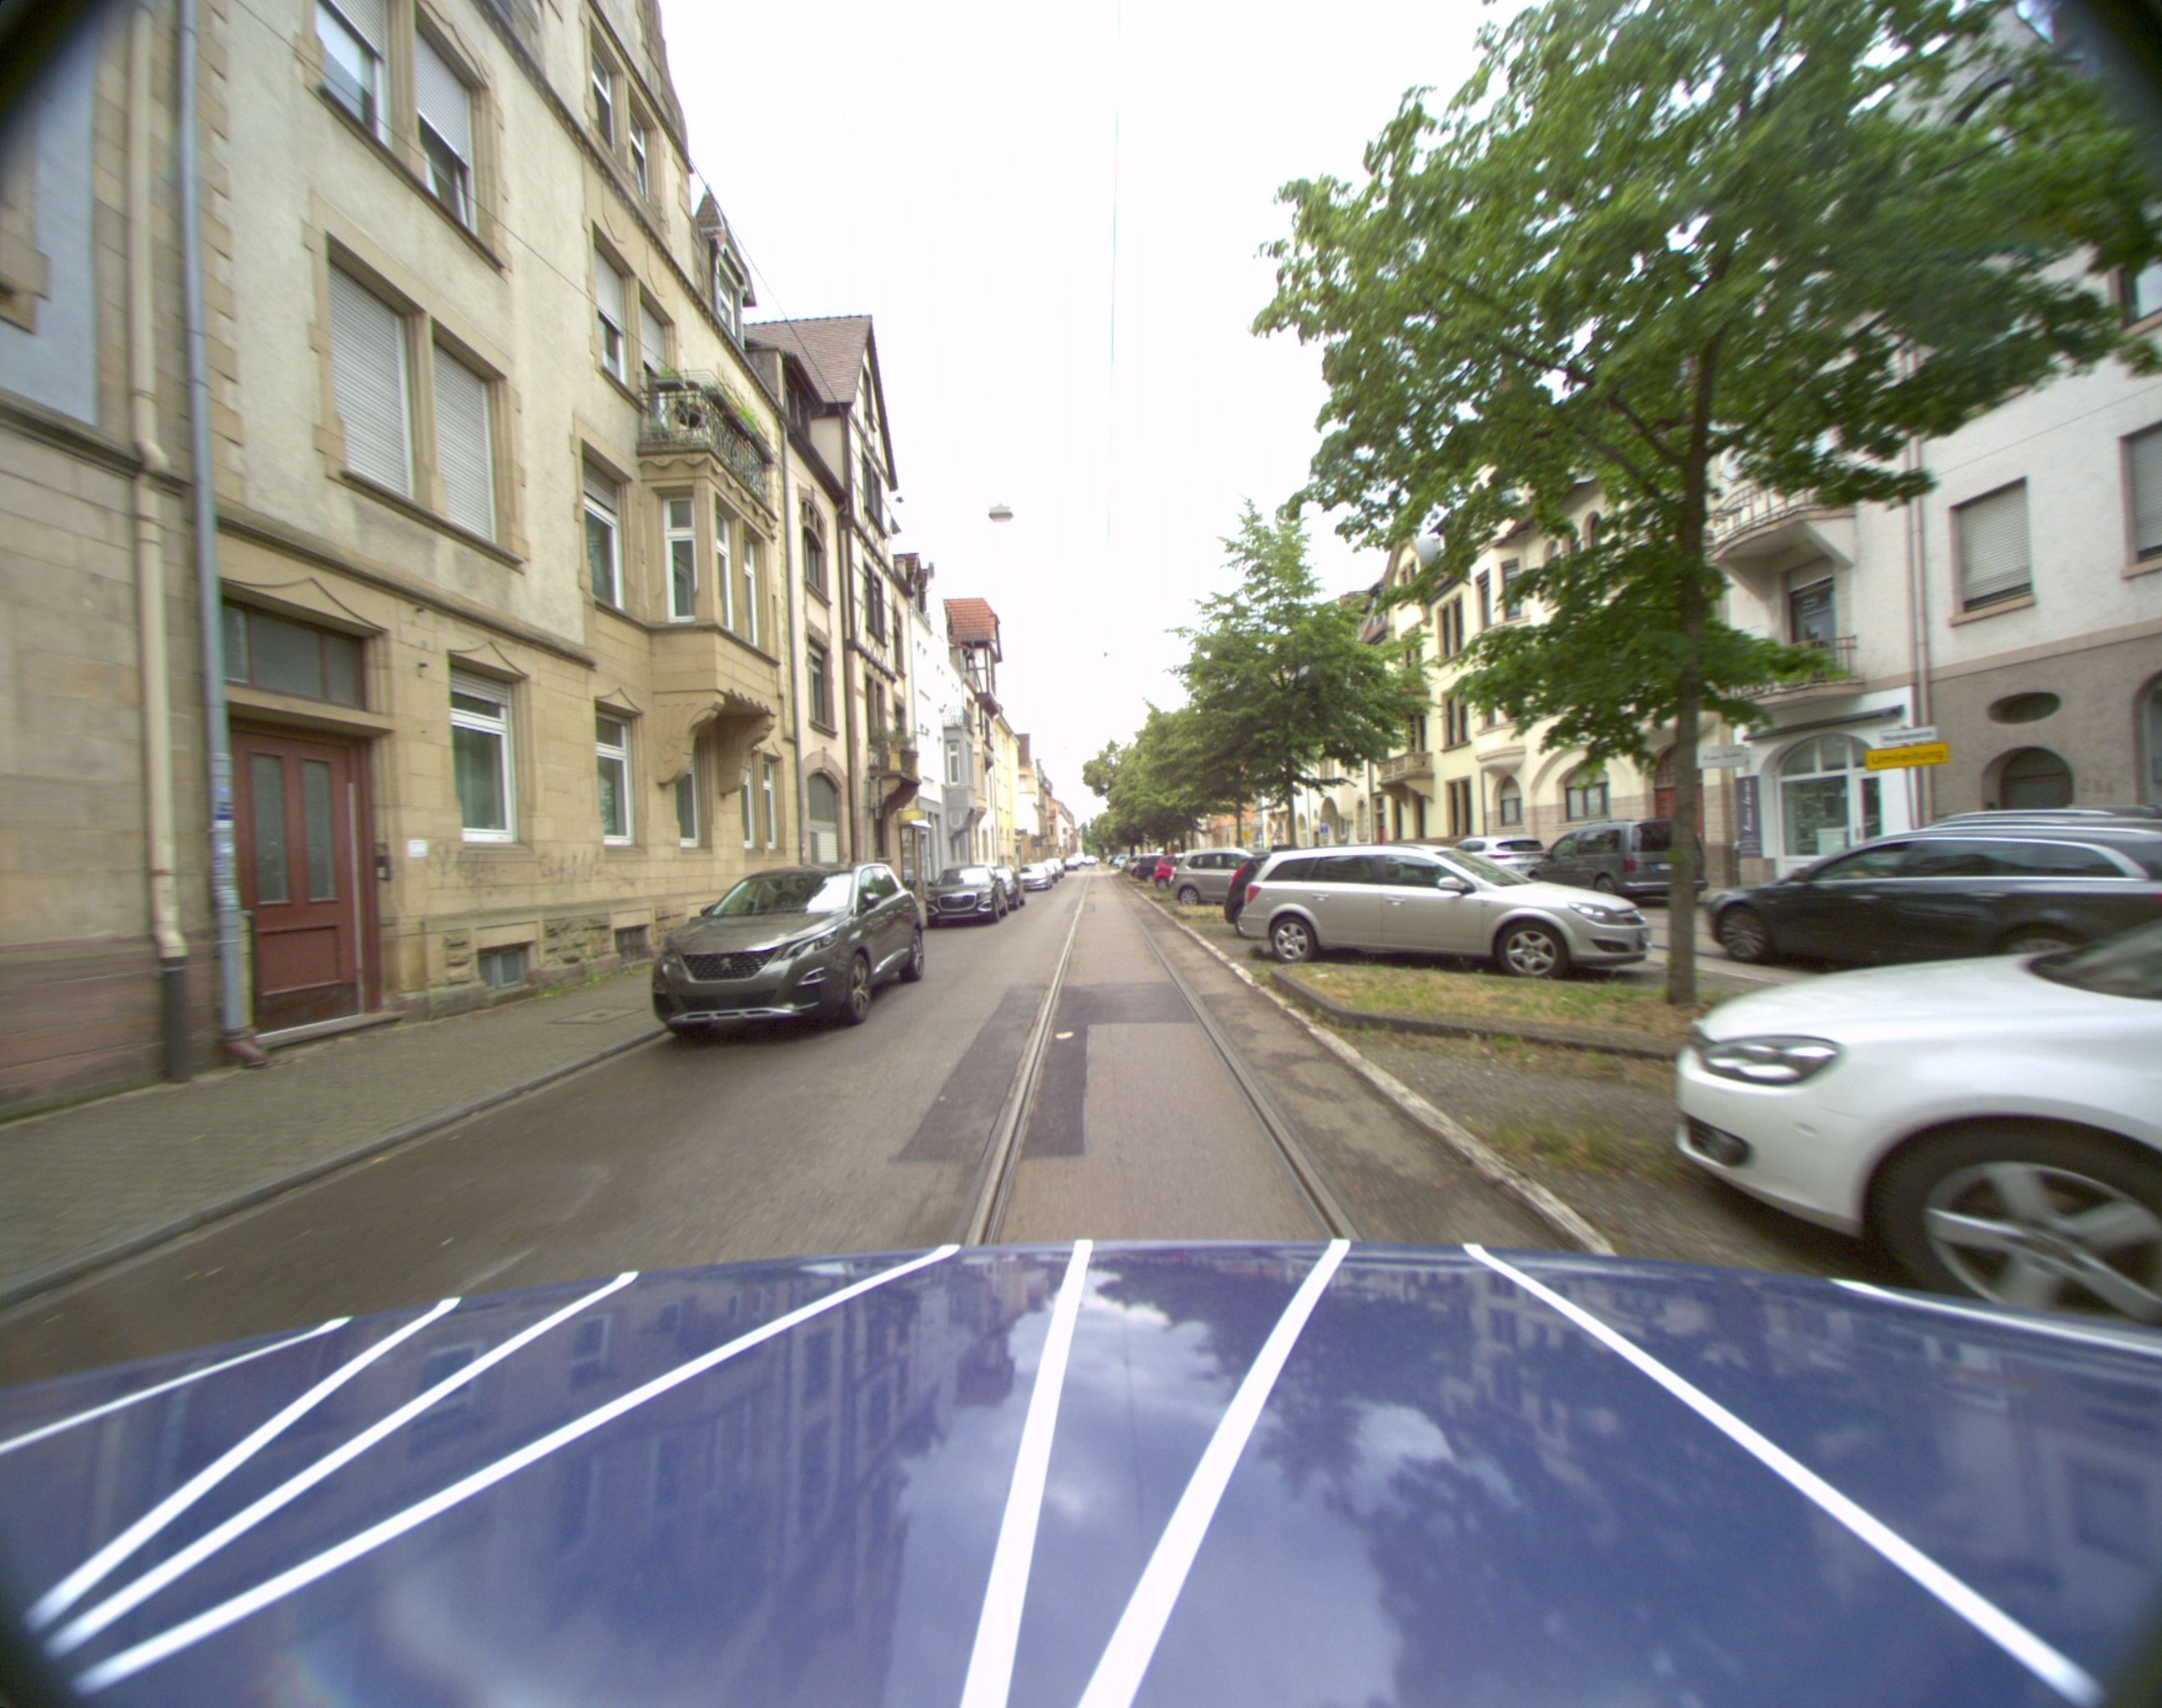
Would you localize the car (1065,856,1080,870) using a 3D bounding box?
[{"bbox_3d":[-1.103,1.151,98.474,1.676,1.519,4.213,-3,1,1],"label":"car"}]

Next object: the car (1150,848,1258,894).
[{"bbox_3d":[4.739,0.674,29.599,1.678,1.518,3.803,-4,0,-44],"label":"car"}]

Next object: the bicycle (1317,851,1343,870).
[{"bbox_3d":[15.703,0.416,47.910,0.613,1.120,1.915,-5,0,-10],"label":"bicycle"}]

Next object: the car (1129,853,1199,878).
[{"bbox_3d":[5.127,0.734,47.300,1.902,1.458,3.989,-1,-2,-45],"label":"car"}]

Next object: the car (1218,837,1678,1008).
[{"bbox_3d":[4.096,0.685,9.130,1.867,1.484,4.553,-4,1,-43],"label":"car"}]

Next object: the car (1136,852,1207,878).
[{"bbox_3d":[5.185,0.627,43.872,1.793,1.380,3.727,-1,-2,-45],"label":"car"}]

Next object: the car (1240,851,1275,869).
[{"bbox_3d":[12.857,0.412,55.483,1.639,1.169,3.380,-3,0,-1],"label":"car"}]

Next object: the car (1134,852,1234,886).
[{"bbox_3d":[4.960,0.744,37.136,1.889,1.458,4.596,-3,0,-43],"label":"car"}]

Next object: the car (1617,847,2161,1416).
[{"bbox_3d":[3.968,0.633,1.794,4.119,1.304,1.867,-3,0,44],"label":"car"}]

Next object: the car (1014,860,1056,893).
[{"bbox_3d":[-2.457,1.200,41.534,1.793,1.504,4.214,-5,0,2],"label":"car"}]

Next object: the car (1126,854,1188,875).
[{"bbox_3d":[5.447,0.745,54.799,3.989,1.407,1.902,-3,-1,40],"label":"car"}]

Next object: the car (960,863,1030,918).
[{"bbox_3d":[-2.801,1.158,25.542,1.702,1.504,4.391,-5,0,0],"label":"car"}]

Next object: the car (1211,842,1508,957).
[{"bbox_3d":[4.262,0.663,12.062,1.779,1.476,3.989,-3,0,-44],"label":"car"}]

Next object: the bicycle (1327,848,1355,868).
[{"bbox_3d":[15.678,0.257,45.840,0.613,1.120,1.915,-5,0,-10],"label":"bicycle"}]

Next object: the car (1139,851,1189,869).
[{"bbox_3d":[7.249,0.531,66.302,3.991,1.407,1.901,-2,-1,22],"label":"car"}]

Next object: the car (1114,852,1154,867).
[{"bbox_3d":[6.000,0.643,86.303,3.989,1.602,1.902,-2,-1,32],"label":"car"}]

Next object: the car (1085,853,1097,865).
[{"bbox_3d":[1.822,0.957,136.277,1.998,2.002,4.000,-3,1,1],"label":"car"}]

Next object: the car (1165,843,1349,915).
[{"bbox_3d":[4.406,0.607,19.412,4.195,1.600,1.728,-2,2,42],"label":"car"}]

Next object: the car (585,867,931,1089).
[{"bbox_3d":[-3.029,1.026,8.396,1.764,1.612,4.694,-3,0,0],"label":"car"}]

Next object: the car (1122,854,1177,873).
[{"bbox_3d":[5.527,0.790,61.600,3.989,1.407,1.902,-3,-1,40],"label":"car"}]

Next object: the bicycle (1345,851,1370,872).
[{"bbox_3d":[15.737,0.407,43.292,0.612,1.120,1.916,-5,0,1],"label":"bicycle"}]

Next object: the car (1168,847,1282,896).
[{"bbox_3d":[4.900,0.583,26.066,3.418,1.518,1.693,-1,2,44],"label":"car"}]

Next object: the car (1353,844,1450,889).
[{"bbox_3d":[12.253,0.454,29.376,1.855,1.513,4.194,-2,0,-1],"label":"car"}]

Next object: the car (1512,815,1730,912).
[{"bbox_3d":[11.942,0.194,17.250,1.855,1.859,4.431,-2,0,2],"label":"car"}]

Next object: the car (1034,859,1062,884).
[{"bbox_3d":[-2.258,1.184,52.955,1.635,1.478,4.214,-5,0,1],"label":"car"}]

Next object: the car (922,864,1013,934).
[{"bbox_3d":[-2.931,1.110,20.516,1.702,1.504,4.419,-5,0,0],"label":"car"}]

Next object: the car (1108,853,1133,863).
[{"bbox_3d":[7.169,0.767,138.490,3.991,1.602,1.901,-2,-1,22],"label":"car"}]

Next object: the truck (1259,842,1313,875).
[{"bbox_3d":[12.645,0.243,47.282,2.150,1.845,6.065,-3,0,5],"label":"truck"}]

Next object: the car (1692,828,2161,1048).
[{"bbox_3d":[8.237,0.540,6.791,1.809,1.444,4.652,-3,0,1],"label":"car"}]

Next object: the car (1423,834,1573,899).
[{"bbox_3d":[12.076,0.343,22.411,1.855,1.650,4.493,-2,0,-1],"label":"car"}]

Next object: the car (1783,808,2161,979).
[{"bbox_3d":[11.527,0.344,9.359,1.809,1.670,4.273,-3,0,1],"label":"car"}]

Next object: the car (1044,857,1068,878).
[{"bbox_3d":[-2.045,1.098,63.018,1.635,1.519,4.213,-3,1,1],"label":"car"}]

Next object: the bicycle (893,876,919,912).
[{"bbox_3d":[-5.795,1.295,25.176,0.422,1.091,1.588,2,0,1],"label":"bicycle"}]
